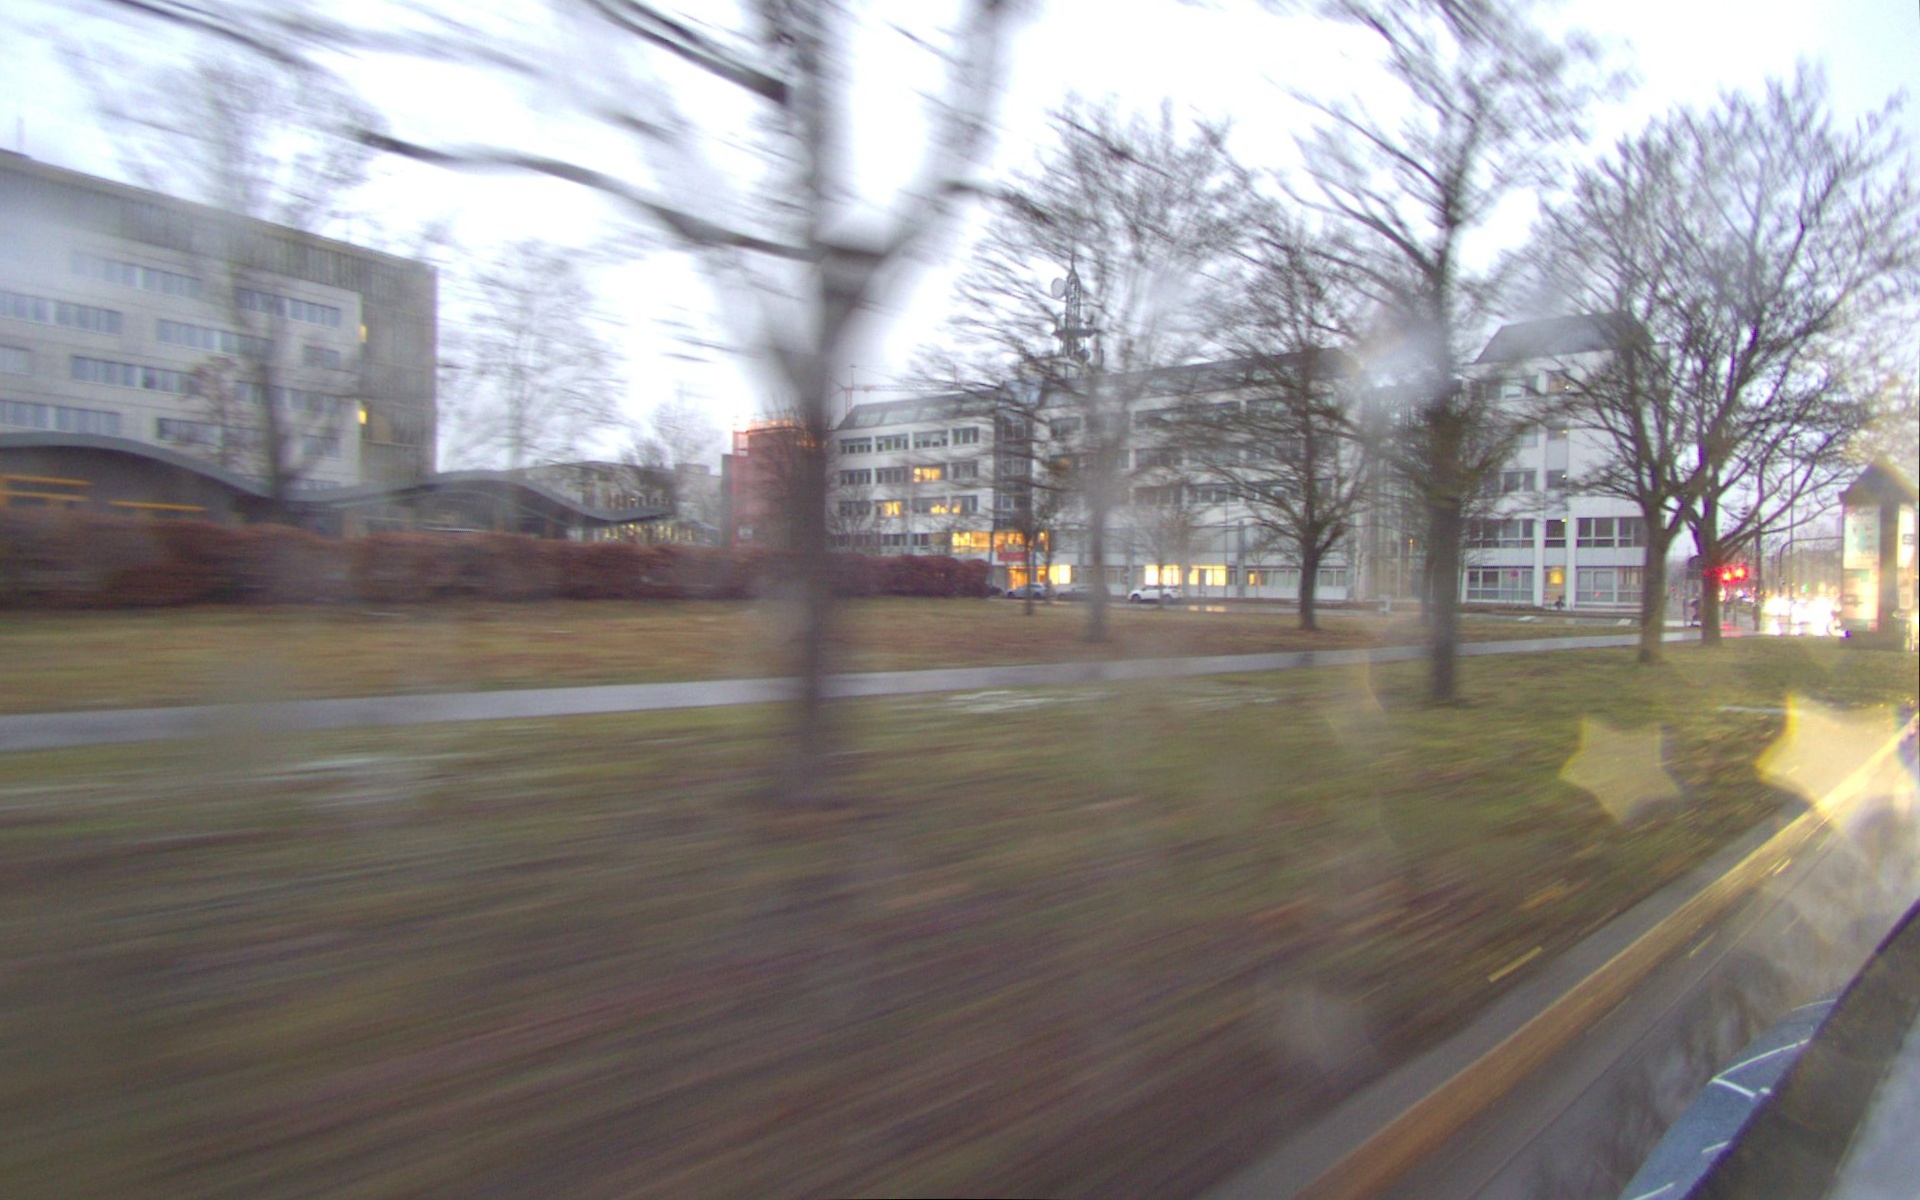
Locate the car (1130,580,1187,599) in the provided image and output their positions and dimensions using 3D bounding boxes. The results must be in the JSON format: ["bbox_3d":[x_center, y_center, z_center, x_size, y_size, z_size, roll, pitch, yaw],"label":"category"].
[{"bbox_3d":[16.021,-0.880,81.691,4.136,1.456,1.881,2,1,34],"label":"car"}]

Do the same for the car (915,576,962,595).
[{"bbox_3d":[-2.059,-1.381,95.828,4.136,1.652,1.976,2,1,34],"label":"car"}]

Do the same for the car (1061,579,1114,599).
[{"bbox_3d":[10.953,-0.960,87.088,4.119,1.652,1.976,2,1,34],"label":"car"}]

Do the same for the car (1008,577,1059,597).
[{"bbox_3d":[6.540,-1.188,90.299,4.136,1.652,1.976,2,1,34],"label":"car"}]

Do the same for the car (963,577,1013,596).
[{"bbox_3d":[2.559,-1.220,92.953,4.136,1.652,1.976,2,1,34],"label":"car"}]

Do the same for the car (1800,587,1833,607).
[{"bbox_3d":[68.665,-0.251,81.157,1.943,1.575,4.154,-1,0,41],"label":"car"}]

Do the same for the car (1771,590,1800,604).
[{"bbox_3d":[82.319,-0.287,100.902,1.988,1.340,3.948,2,1,36],"label":"car"}]

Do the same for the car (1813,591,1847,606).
[{"bbox_3d":[78.943,-0.135,91.894,1.988,1.340,3.948,2,1,36],"label":"car"}]
